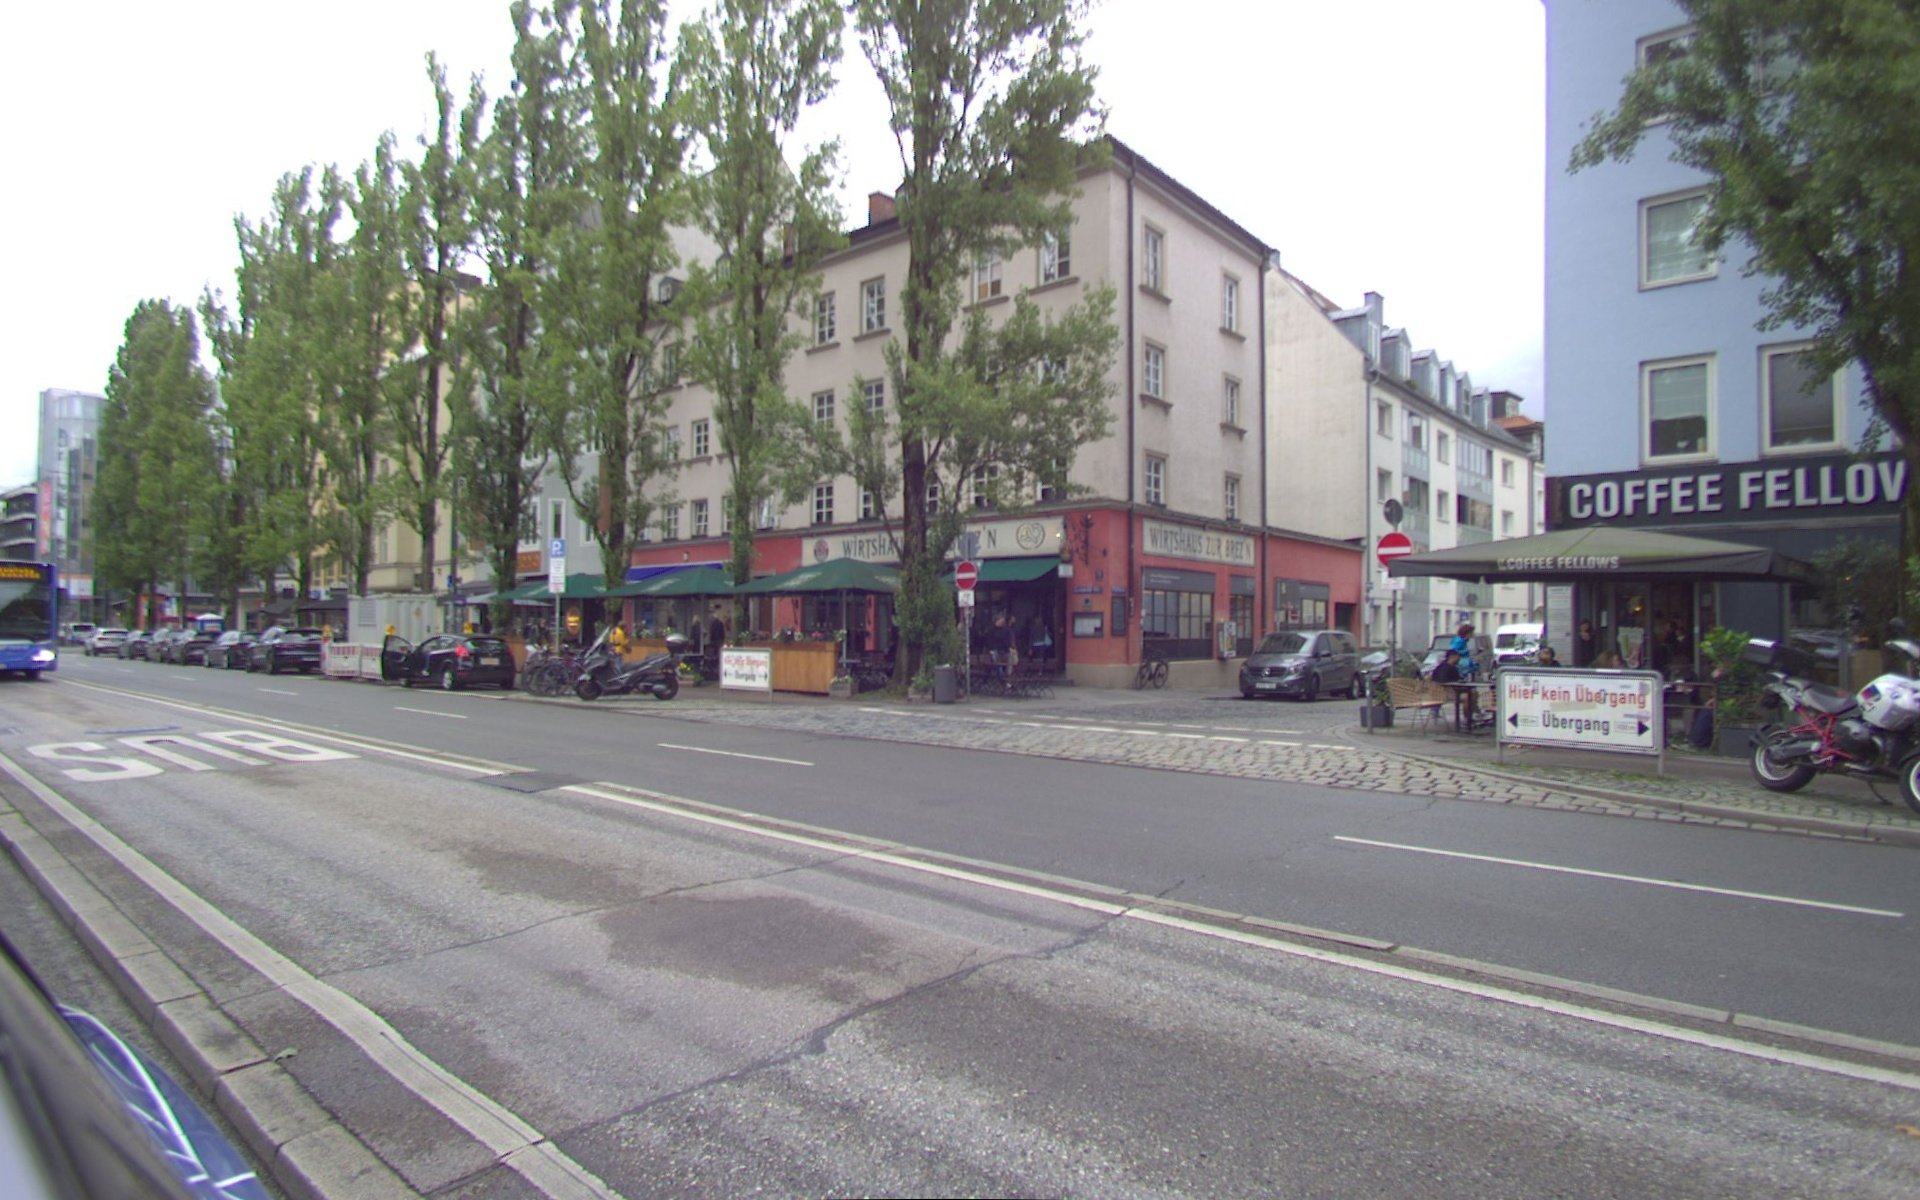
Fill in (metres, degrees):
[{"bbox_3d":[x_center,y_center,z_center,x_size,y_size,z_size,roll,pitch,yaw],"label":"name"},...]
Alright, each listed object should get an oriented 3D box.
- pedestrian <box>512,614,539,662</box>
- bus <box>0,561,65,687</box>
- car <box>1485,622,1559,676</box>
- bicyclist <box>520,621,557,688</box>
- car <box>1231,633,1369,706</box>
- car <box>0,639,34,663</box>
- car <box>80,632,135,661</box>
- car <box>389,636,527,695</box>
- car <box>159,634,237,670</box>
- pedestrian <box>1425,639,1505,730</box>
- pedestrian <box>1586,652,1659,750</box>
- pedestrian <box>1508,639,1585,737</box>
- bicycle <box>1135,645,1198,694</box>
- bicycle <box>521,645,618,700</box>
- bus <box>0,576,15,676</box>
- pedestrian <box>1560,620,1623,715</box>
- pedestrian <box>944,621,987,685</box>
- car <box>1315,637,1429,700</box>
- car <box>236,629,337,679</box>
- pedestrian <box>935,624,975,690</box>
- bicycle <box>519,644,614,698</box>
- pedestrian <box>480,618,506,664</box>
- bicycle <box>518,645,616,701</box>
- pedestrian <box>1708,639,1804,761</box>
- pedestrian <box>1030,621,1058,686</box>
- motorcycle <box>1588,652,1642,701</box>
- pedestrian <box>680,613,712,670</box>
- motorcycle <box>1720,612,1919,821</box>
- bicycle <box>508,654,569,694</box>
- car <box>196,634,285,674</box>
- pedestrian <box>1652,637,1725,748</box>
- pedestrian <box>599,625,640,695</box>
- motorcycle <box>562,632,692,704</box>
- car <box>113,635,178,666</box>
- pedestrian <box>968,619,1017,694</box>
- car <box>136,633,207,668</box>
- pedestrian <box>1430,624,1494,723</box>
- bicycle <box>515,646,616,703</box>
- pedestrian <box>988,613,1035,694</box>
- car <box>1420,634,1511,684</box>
[{"bbox_3d":[-17.661,1.549,41.172,0.905,1.941,0.690,-2,-3,44],"label":"pedestrian"},{"bbox_3d":[-26.506,0.656,26.960,10.046,2.972,2.661,-2,-2,41],"label":"bus"},{"bbox_3d":[25.756,2.257,46.308,1.982,2.384,4.523,-2,-4,42],"label":"car"},{"bbox_3d":[-11.112,1.425,26.662,0.816,1.718,0.598,-1,-2,42],"label":"bicyclist"},{"bbox_3d":[9.144,1.815,27.040,1.982,1.780,4.525,-2,-4,40],"label":"car"},{"bbox_3d":[-63.228,3.378,67.476,4.075,1.553,1.695,-2,-4,42],"label":"car"},{"bbox_3d":[-48.674,2.663,57.760,4.103,1.590,1.778,-2,-3,42],"label":"car"},{"bbox_3d":[-13.123,1.669,26.386,3.780,1.433,1.739,-1,-3,38],"label":"car"},{"bbox_3d":[-32.728,2.193,43.431,4.572,1.451,1.778,-2,-3,42],"label":"car"},{"bbox_3d":[7.895,1.297,15.828,0.950,1.373,0.690,-2,-3,44],"label":"pedestrian"},{"bbox_3d":[8.582,1.278,13.106,0.699,1.192,0.807,-2,-3,39],"label":"pedestrian"},{"bbox_3d":[8.603,1.264,14.842,0.819,1.373,0.690,-2,-3,44],"label":"pedestrian"},{"bbox_3d":[5.434,1.793,26.541,0.645,1.214,2.317,-2,-3,39],"label":"bicycle"},{"bbox_3d":[-8.505,1.575,22.082,1.949,1.134,0.283,-1,0,-12],"label":"bicycle"},{"bbox_3d":[-33.133,0.855,32.733,10.046,2.972,2.655,-2,-2,41],"label":"bus"},{"bbox_3d":[12.286,1.295,19.715,0.692,1.786,0.947,0,-2,10],"label":"pedestrian"},{"bbox_3d":[0.139,1.397,26.893,0.689,1.659,0.930,2,-3,-44],"label":"pedestrian"},{"bbox_3d":[12.843,2.097,31.408,1.982,1.780,4.525,-2,-4,40],"label":"car"},{"bbox_3d":[-23.400,1.847,35.097,4.572,1.625,1.778,-2,-3,42],"label":"car"},{"bbox_3d":[-0.127,1.432,25.698,0.732,1.636,0.690,-2,-3,44],"label":"pedestrian"},{"bbox_3d":[-8.833,1.593,22.765,1.949,1.134,0.343,-1,0,-12],"label":"bicycle"},{"bbox_3d":[-19.904,1.759,43.154,0.905,1.941,0.690,-2,-3,44],"label":"pedestrian"},{"bbox_3d":[-8.446,1.573,21.804,1.949,1.134,0.283,-1,0,-12],"label":"bicycle"},{"bbox_3d":[9.447,1.156,12.021,0.847,1.373,0.690,-2,-3,40],"label":"pedestrian"},{"bbox_3d":[2.198,1.376,26.403,0.691,1.659,0.927,0,-2,6],"label":"pedestrian"},{"bbox_3d":[17.271,1.985,26.640,0.738,1.213,2.729,-4,-5,42],"label":"motorcycle"},{"bbox_3d":[-9.144,1.421,35.092,0.905,1.941,0.690,-2,-3,44],"label":"pedestrian"},{"bbox_3d":[7.582,0.891,8.383,0.704,1.575,2.348,-1,-1,-2],"label":"motorcycle"},{"bbox_3d":[-11.111,1.922,26.649,2.173,0.976,0.605,-2,-2,42],"label":"bicycle"},{"bbox_3d":[-27.792,2.044,39.054,4.572,1.451,1.778,-2,-3,42],"label":"car"},{"bbox_3d":[9.396,1.166,13.045,0.699,1.373,0.706,-2,-3,39],"label":"pedestrian"},{"bbox_3d":[-8.690,1.521,25.823,0.699,1.739,0.723,-2,-3,38],"label":"pedestrian"},{"bbox_3d":[-6.755,1.367,20.555,2.426,1.425,0.744,0,-2,8],"label":"motorcycle"},{"bbox_3d":[-40.860,2.516,50.726,4.572,1.451,1.778,-2,-3,42],"label":"car"},{"bbox_3d":[0.773,1.339,24.217,0.950,1.735,0.690,-2,-3,44],"label":"pedestrian"},{"bbox_3d":[-36.663,2.319,47.020,4.572,1.515,1.778,-2,-3,42],"label":"car"},{"bbox_3d":[8.675,1.245,17.526,0.945,1.659,0.694,-1,-2,25],"label":"pedestrian"},{"bbox_3d":[-8.351,1.564,21.476,1.949,1.134,0.362,-1,0,-12],"label":"bicycle"},{"bbox_3d":[1.260,1.290,24.758,0.905,1.941,0.690,-2,-3,44],"label":"pedestrian"},{"bbox_3d":[19.549,2.269,39.031,2.116,1.780,4.525,-2,-4,40],"label":"car"}]
